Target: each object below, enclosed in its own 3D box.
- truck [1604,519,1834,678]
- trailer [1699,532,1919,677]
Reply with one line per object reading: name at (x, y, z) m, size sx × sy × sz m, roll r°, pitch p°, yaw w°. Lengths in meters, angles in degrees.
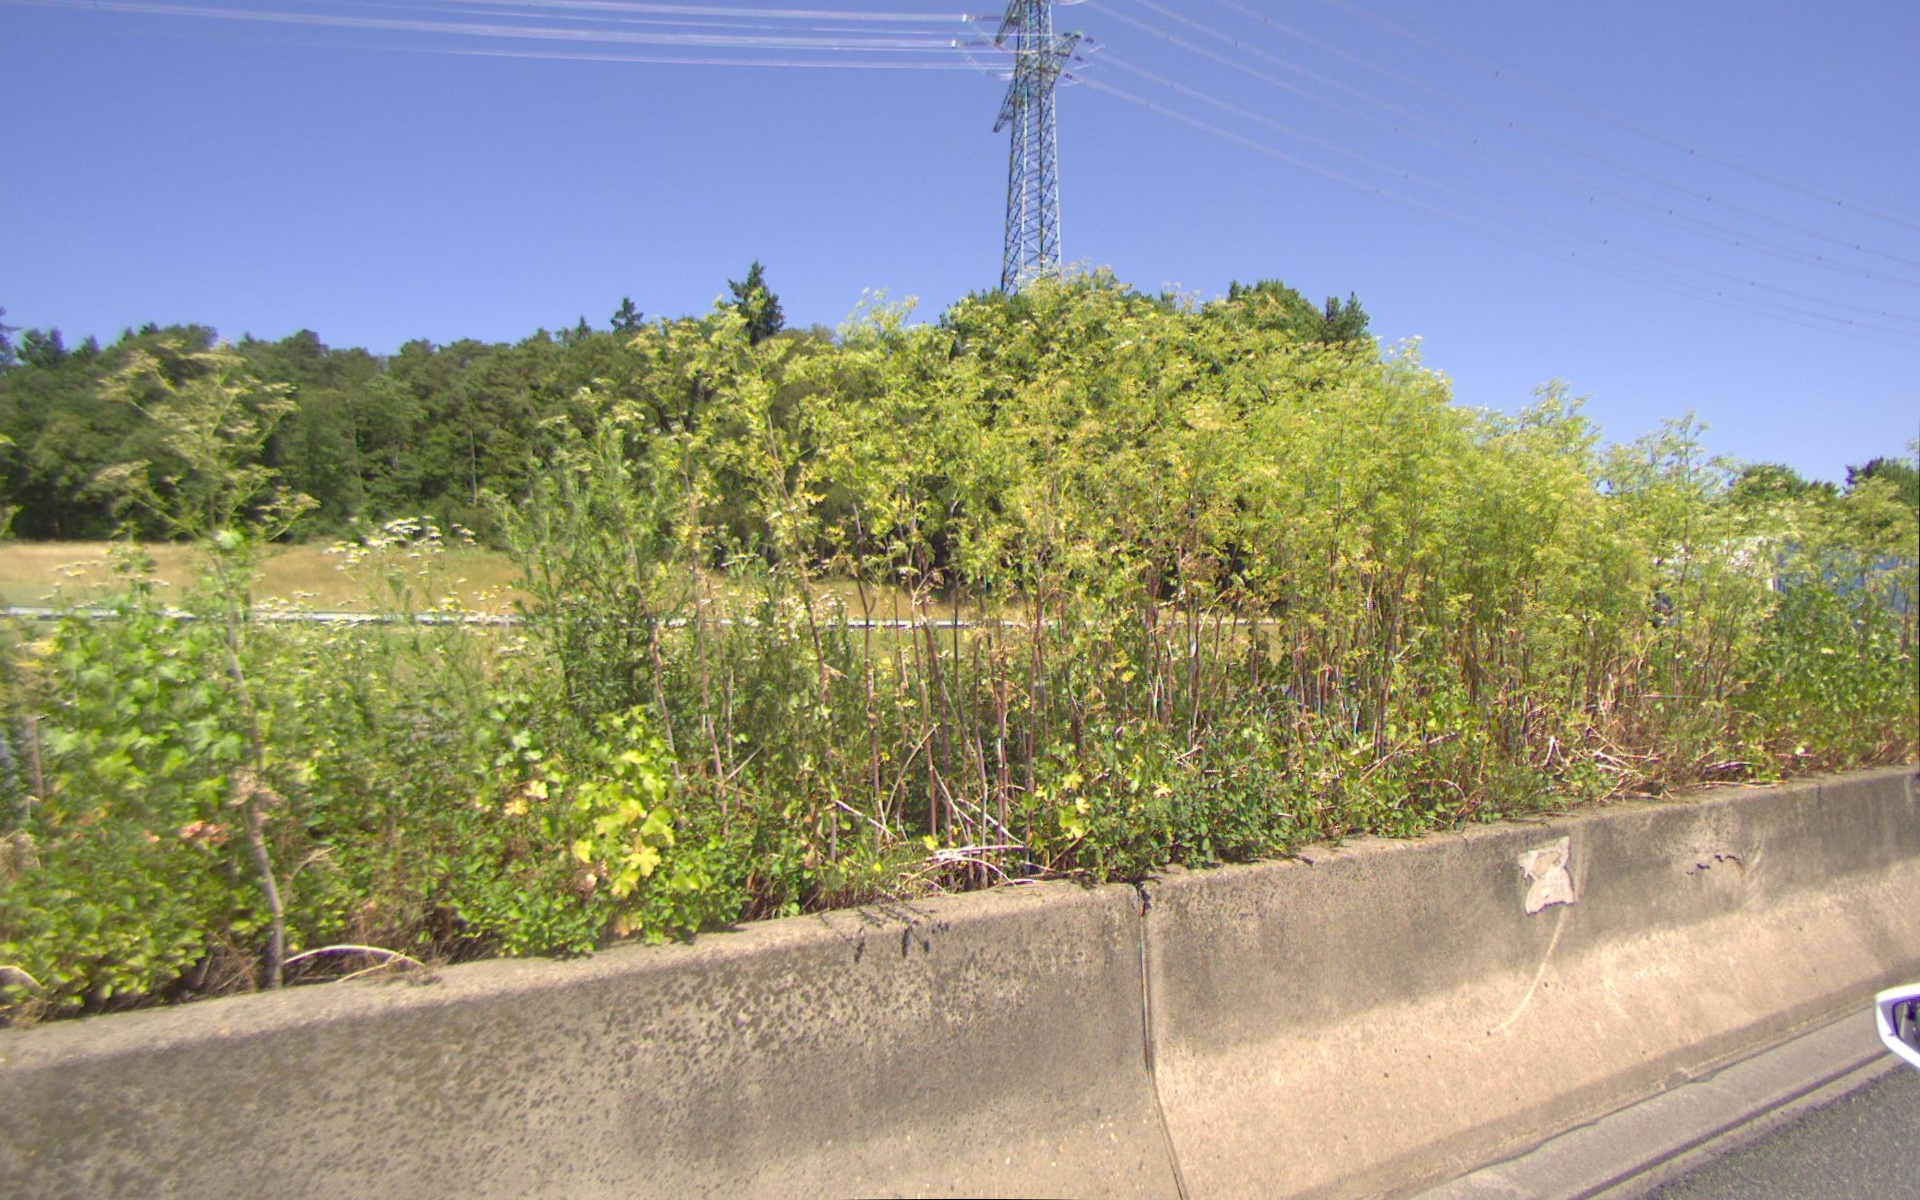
truck at (22.623, 0.052, 29.877) m, size 6.604 × 4.284 × 2.999 m, roll 2°, pitch -1°, yaw -29°
trailer at (29.191, 0.274, 33.543) m, size 10.846 × 4.284 × 2.999 m, roll 2°, pitch -1°, yaw -29°
